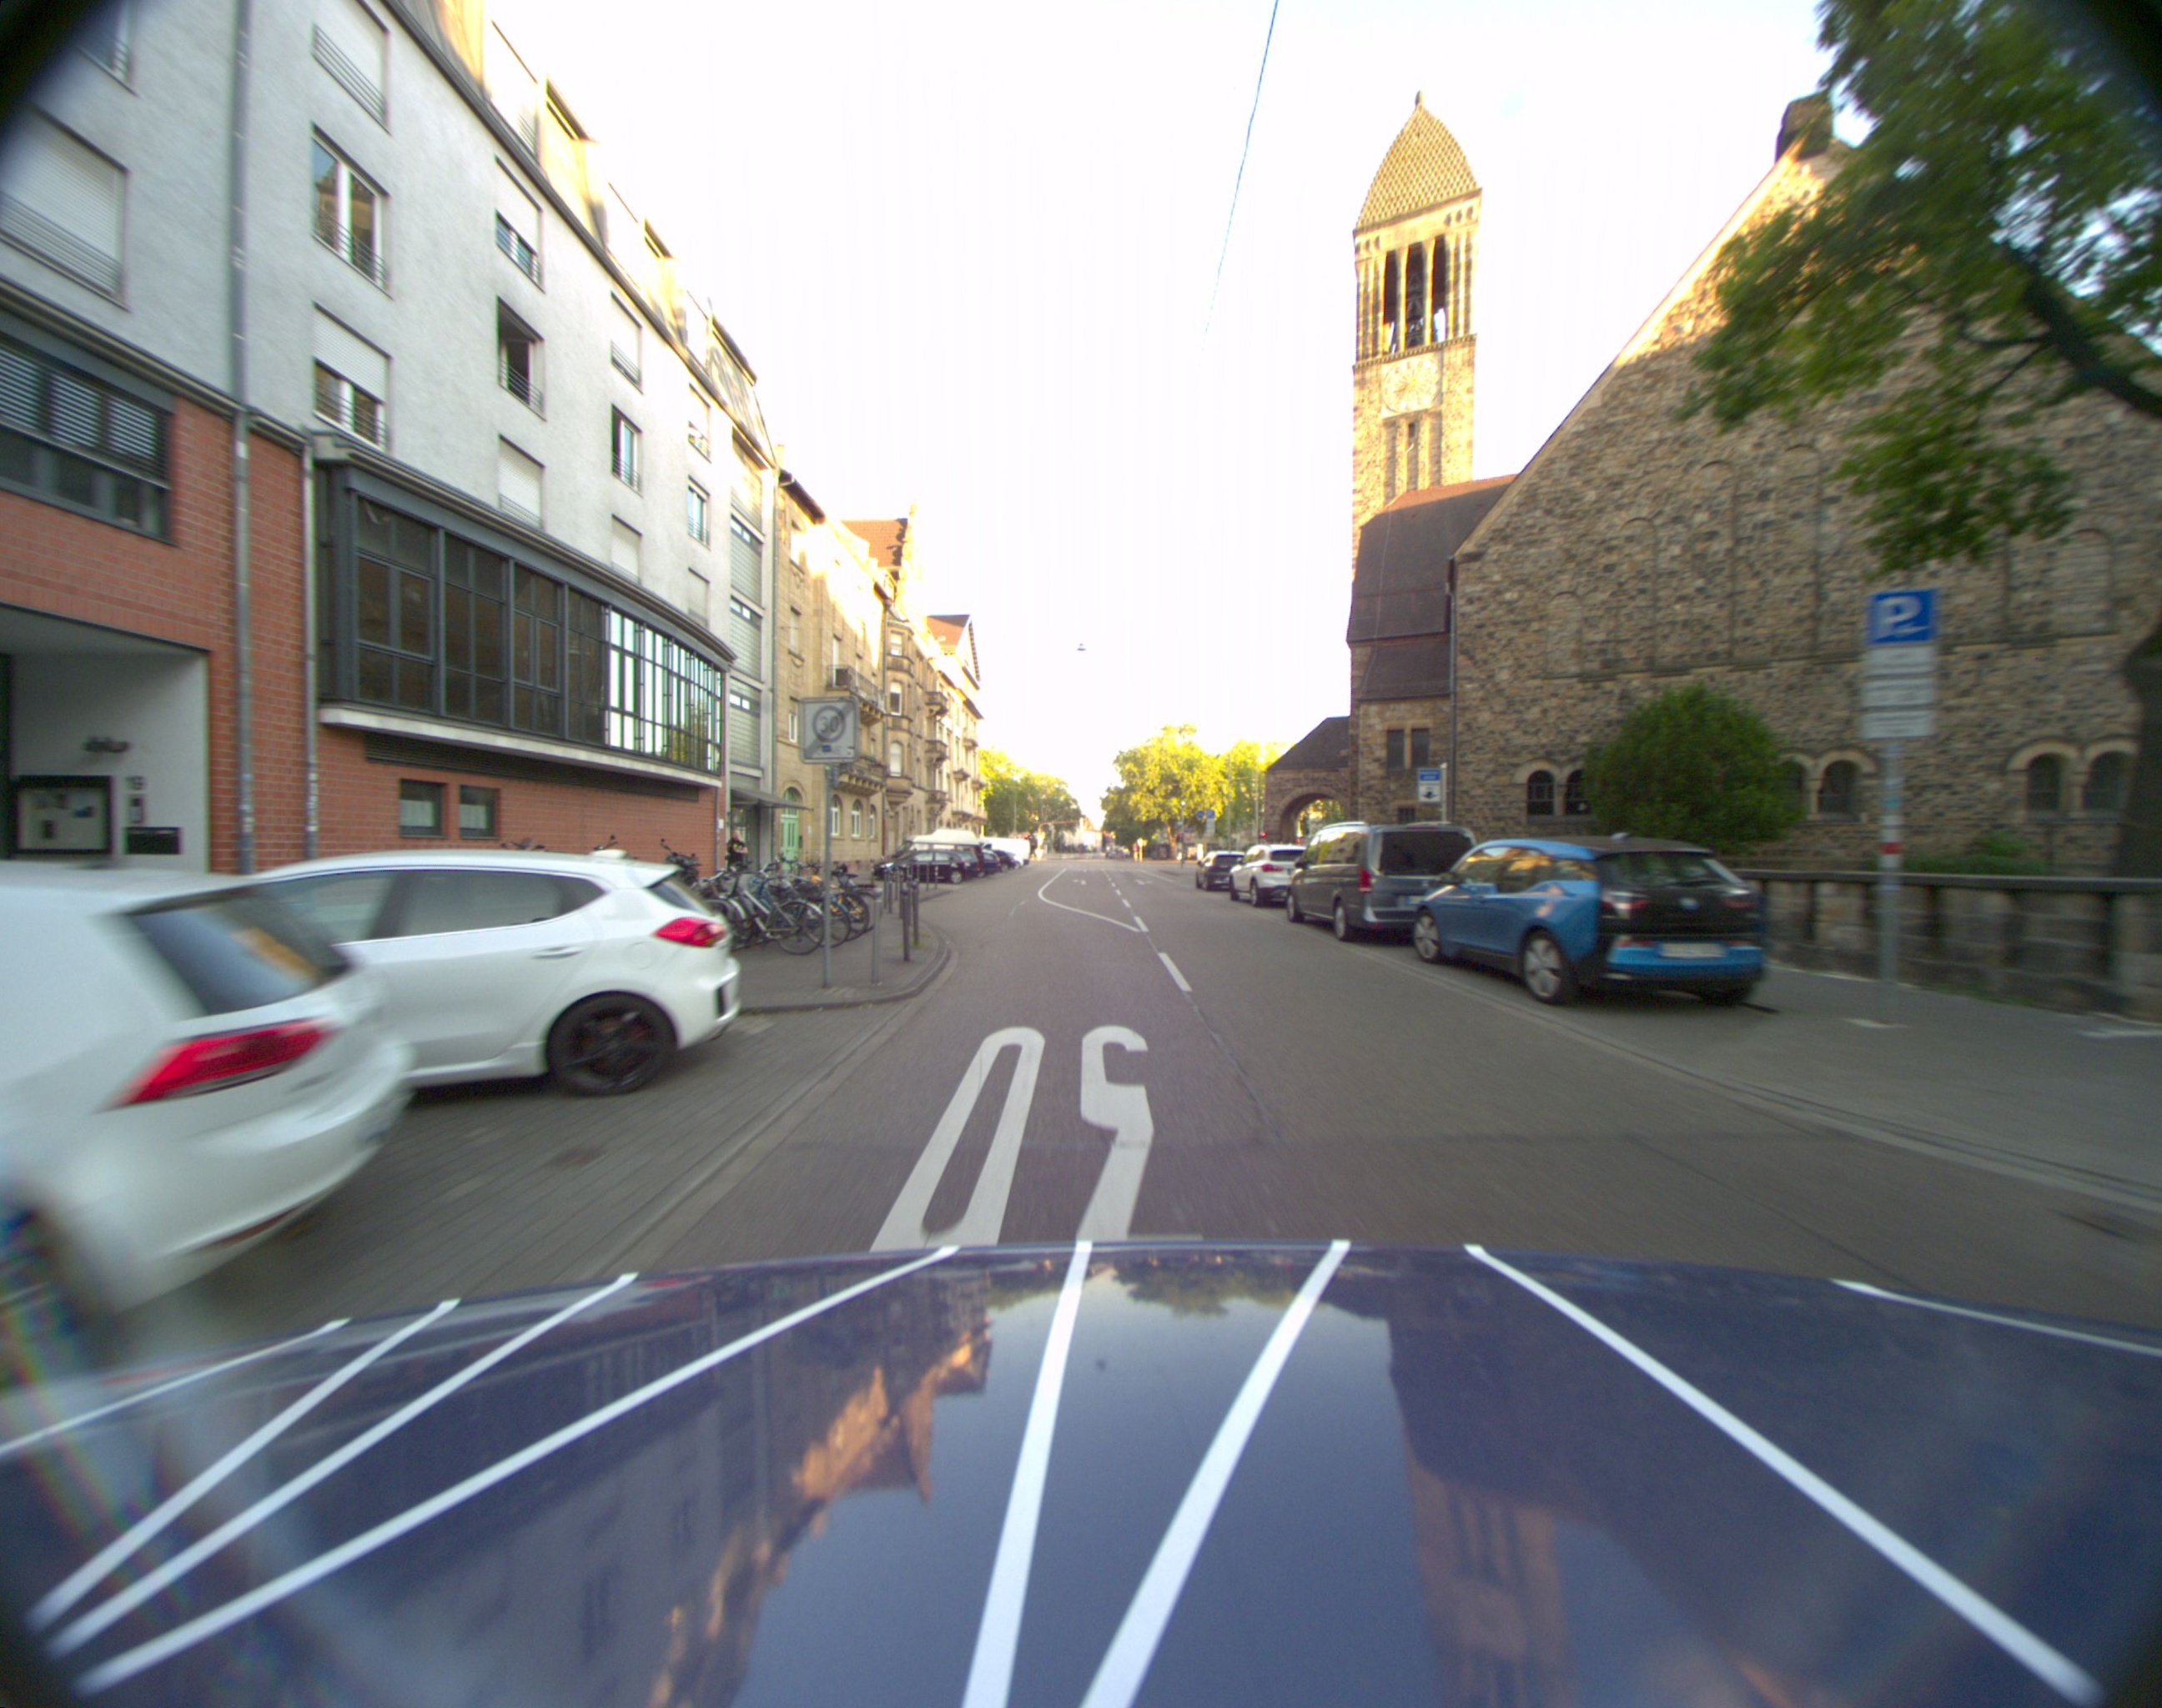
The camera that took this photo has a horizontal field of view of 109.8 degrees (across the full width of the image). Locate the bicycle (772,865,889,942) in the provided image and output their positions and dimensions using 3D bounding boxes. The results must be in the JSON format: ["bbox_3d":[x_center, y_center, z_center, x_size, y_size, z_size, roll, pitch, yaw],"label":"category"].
[{"bbox_3d":[-4.080,0.802,12.433,1.712,1.169,0.472,2,1,-1],"label":"bicycle"}]

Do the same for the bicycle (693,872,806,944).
[{"bbox_3d":[-5.177,0.834,11.903,1.543,1.032,0.472,2,1,-1],"label":"bicycle"}]

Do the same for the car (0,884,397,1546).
[{"bbox_3d":[-4.455,0.908,1.741,4.007,1.465,1.870,0,2,-32],"label":"car"}]

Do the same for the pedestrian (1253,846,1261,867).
[{"bbox_3d":[11.986,0.172,51.730,0.401,1.398,0.549,1,1,36],"label":"pedestrian"}]

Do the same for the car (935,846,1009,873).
[{"bbox_3d":[-6.719,0.346,46.941,4.043,1.423,1.863,2,1,-33],"label":"car"}]

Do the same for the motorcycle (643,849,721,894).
[{"bbox_3d":[-10.855,0.450,20.764,0.802,1.133,2.440,2,1,0],"label":"motorcycle"}]

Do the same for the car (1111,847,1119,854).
[{"bbox_3d":[8.458,-0.867,188.561,1.827,1.565,4.001,0,1,5],"label":"car"}]

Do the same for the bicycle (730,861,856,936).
[{"bbox_3d":[-4.925,0.747,13.060,1.863,1.139,0.659,3,1,0],"label":"bicycle"}]

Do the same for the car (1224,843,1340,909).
[{"bbox_3d":[5.241,0.515,20.480,1.876,1.582,4.467,0,1,-1],"label":"car"}]

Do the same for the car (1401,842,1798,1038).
[{"bbox_3d":[5.025,0.684,8.137,1.644,1.546,4.004,-2,0,3],"label":"car"}]

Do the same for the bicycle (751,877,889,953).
[{"bbox_3d":[-3.864,0.896,11.323,1.862,1.032,0.472,2,1,-1],"label":"bicycle"}]

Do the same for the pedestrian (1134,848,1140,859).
[{"bbox_3d":[8.230,-0.035,112.430,0.745,1.619,0.660,0,1,18],"label":"pedestrian"}]

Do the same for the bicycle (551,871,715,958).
[{"bbox_3d":[-6.000,0.798,10.222,1.862,1.060,0.524,2,1,-1],"label":"bicycle"}]

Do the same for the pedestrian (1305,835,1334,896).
[{"bbox_3d":[7.389,0.342,23.571,0.574,1.846,0.988,0,1,-2],"label":"pedestrian"}]

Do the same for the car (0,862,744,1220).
[{"bbox_3d":[-4.259,0.824,4.505,4.006,1.498,1.766,0,1,-28],"label":"car"}]

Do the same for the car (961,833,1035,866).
[{"bbox_3d":[-6.957,-0.351,64.269,5.897,2.537,2.189,1,3,-40],"label":"car"}]

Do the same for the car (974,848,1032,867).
[{"bbox_3d":[-6.281,0.267,61.552,4.263,1.445,1.994,1,1,-38],"label":"car"}]

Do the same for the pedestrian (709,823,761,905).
[{"bbox_3d":[-8.998,0.256,19.790,0.608,2.002,0.857,11,2,1],"label":"pedestrian"}]

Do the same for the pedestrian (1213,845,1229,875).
[{"bbox_3d":[8.215,0.336,44.670,0.716,1.715,0.691,0,1,-9],"label":"pedestrian"}]

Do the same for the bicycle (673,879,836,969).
[{"bbox_3d":[-4.153,0.885,9.723,1.862,1.060,0.445,2,1,-1],"label":"bicycle"}]

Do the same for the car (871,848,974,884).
[{"bbox_3d":[-6.941,0.497,33.337,4.076,1.483,1.719,0,1,-30],"label":"car"}]

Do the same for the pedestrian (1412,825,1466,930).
[{"bbox_3d":[6.610,0.416,14.064,0.584,1.894,0.803,0,1,-2],"label":"pedestrian"}]

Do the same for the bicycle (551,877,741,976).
[{"bbox_3d":[-5.122,0.846,9.006,1.916,1.060,0.524,2,1,-1],"label":"bicycle"}]

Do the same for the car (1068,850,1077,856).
[{"bbox_3d":[-2.200,-0.215,193.986,1.794,1.571,4.001,0,0,4],"label":"car"}]

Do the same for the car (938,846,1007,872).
[{"bbox_3d":[-7.045,0.334,49.408,4.066,1.490,1.749,2,1,-35],"label":"car"}]

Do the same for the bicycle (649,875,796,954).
[{"bbox_3d":[-5.079,0.849,10.809,1.862,1.032,0.402,2,1,-1],"label":"bicycle"}]

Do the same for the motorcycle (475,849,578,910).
[{"bbox_3d":[-11.093,0.471,15.295,0.590,1.097,2.083,3,1,-2],"label":"motorcycle"}]

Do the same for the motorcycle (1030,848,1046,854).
[{"bbox_3d":[-6.643,-0.400,117.376,2.288,0.917,0.621,0,1,-25],"label":"motorcycle"}]

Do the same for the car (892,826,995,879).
[{"bbox_3d":[-6.915,-0.106,38.348,4.733,2.532,1.913,0,2,-28],"label":"car"}]

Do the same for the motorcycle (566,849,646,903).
[{"bbox_3d":[-11.004,0.470,17.707,0.778,1.133,2.413,1,1,-12],"label":"motorcycle"}]

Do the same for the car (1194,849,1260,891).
[{"bbox_3d":[5.363,0.533,28.426,1.787,1.427,4.316,0,1,2],"label":"car"}]

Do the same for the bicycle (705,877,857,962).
[{"bbox_3d":[-4.071,0.878,10.368,1.862,1.060,0.445,2,1,-1],"label":"bicycle"}]

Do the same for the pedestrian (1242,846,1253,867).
[{"bbox_3d":[11.393,0.154,51.951,0.549,1.445,0.559,1,1,36],"label":"pedestrian"}]

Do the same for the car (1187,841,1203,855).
[{"bbox_3d":[16.703,-0.936,111.012,1.865,2.002,3.815,0,1,16],"label":"car"}]

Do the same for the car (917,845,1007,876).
[{"bbox_3d":[-6.471,0.361,41.279,4.407,1.478,1.839,2,0,-30],"label":"car"}]

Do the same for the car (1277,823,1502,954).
[{"bbox_3d":[5.058,0.477,13.430,1.998,1.856,5.290,0,1,2],"label":"car"}]

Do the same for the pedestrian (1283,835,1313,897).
[{"bbox_3d":[6.671,0.363,23.428,0.648,1.868,0.891,0,1,-2],"label":"pedestrian"}]

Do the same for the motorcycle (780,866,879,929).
[{"bbox_3d":[-4.743,0.815,14.390,1.650,1.095,0.646,2,1,-8],"label":"motorcycle"}]

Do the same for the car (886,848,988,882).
[{"bbox_3d":[-6.780,0.477,35.834,4.363,1.494,1.909,0,1,-27],"label":"car"}]

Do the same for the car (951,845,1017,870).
[{"bbox_3d":[-6.650,0.257,52.417,4.107,1.598,1.811,2,1,-37],"label":"car"}]

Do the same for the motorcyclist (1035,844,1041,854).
[{"bbox_3d":[-6.625,-0.784,117.373,0.830,1.511,0.621,0,1,-25],"label":"motorcyclist"}]
